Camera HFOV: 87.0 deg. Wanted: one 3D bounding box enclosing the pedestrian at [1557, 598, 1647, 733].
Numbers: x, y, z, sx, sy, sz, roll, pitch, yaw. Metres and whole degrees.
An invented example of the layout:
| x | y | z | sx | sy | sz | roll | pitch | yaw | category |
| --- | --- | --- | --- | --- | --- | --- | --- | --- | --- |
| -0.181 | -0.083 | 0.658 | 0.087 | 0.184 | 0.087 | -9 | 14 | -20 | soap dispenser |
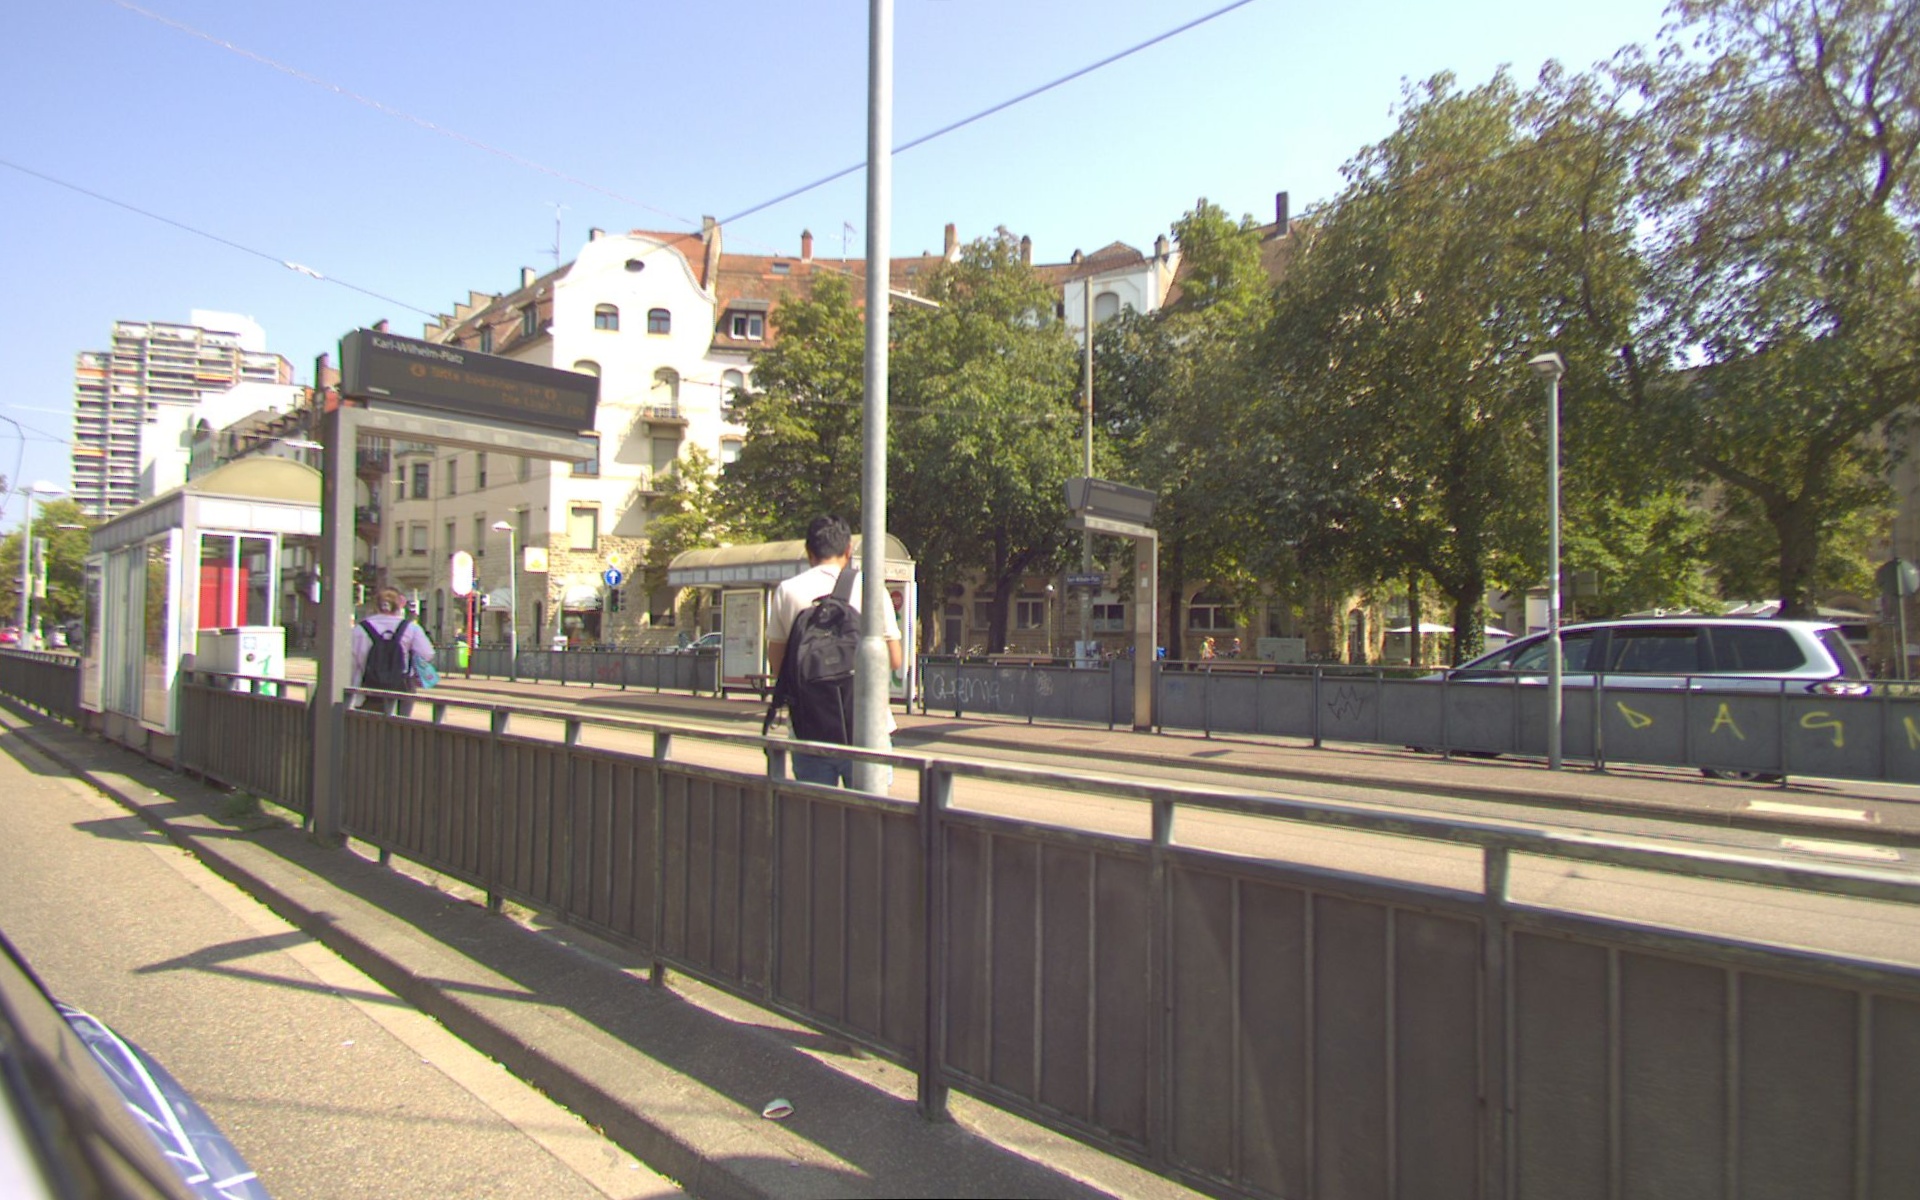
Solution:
| x | y | z | sx | sy | sz | roll | pitch | yaw | category |
| --- | --- | --- | --- | --- | --- | --- | --- | --- | --- |
| 10.153 | 1.001 | 16.009 | 1.036 | 2.029 | 1.080 | -1 | -1 | 42 | pedestrian |

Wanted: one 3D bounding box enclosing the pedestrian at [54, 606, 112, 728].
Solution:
| x | y | z | sx | sy | sz | roll | pitch | yaw | category |
| --- | --- | --- | --- | --- | --- | --- | --- | --- | --- |
| -12.793 | 0.962 | 14.752 | 0.832 | 1.706 | 0.528 | -2 | -3 | 45 | pedestrian |

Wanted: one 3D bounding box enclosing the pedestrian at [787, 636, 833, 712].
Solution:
| x | y | z | sx | sy | sz | roll | pitch | yaw | category |
| --- | --- | --- | --- | --- | --- | --- | --- | --- | --- |
| -2.574 | 1.258 | 17.343 | 0.648 | 1.260 | 0.473 | -2 | -3 | 43 | pedestrian |

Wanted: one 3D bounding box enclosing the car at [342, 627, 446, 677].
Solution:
| x | y | z | sx | sy | sz | roll | pitch | yaw | category |
| --- | --- | --- | --- | --- | --- | --- | --- | --- | --- |
| -20.970 | 1.904 | 37.427 | 4.630 | 1.739 | 1.972 | -2 | -4 | 43 | car |

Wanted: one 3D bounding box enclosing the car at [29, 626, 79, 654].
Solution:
| x | y | z | sx | sy | sz | roll | pitch | yaw | category |
| --- | --- | --- | --- | --- | --- | --- | --- | --- | --- |
| -60.701 | 2.669 | 67.770 | 4.630 | 1.739 | 1.972 | -2 | -4 | 43 | car |

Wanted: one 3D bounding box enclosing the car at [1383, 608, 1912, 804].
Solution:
| x | y | z | sx | sy | sz | roll | pitch | yaw | category |
| --- | --- | --- | --- | --- | --- | --- | --- | --- | --- |
| 7.461 | 1.039 | 11.361 | 4.633 | 1.739 | 1.971 | -2 | -4 | 45 | car |

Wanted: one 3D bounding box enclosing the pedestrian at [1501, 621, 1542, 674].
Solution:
| x | y | z | sx | sy | sz | roll | pitch | yaw | category |
| --- | --- | --- | --- | --- | --- | --- | --- | --- | --- |
| 21.765 | 1.821 | 39.239 | 1.021 | 2.029 | 1.096 | 1 | -1 | -43 | pedestrian |

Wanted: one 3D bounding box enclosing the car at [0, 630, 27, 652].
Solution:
| x | y | z | sx | sy | sz | roll | pitch | yaw | category |
| --- | --- | --- | --- | --- | --- | --- | --- | --- | --- |
| -81.070 | 3.476 | 86.140 | 4.630 | 1.739 | 1.972 | -2 | -4 | 43 | car |

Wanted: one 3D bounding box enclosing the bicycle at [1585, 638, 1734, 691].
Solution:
| x | y | z | sx | sy | sz | roll | pitch | yaw | category |
| --- | --- | --- | --- | --- | --- | --- | --- | --- | --- |
| 20.090 | 1.841 | 29.114 | 3.434 | 1.447 | 1.223 | 1 | -2 | -2 | bicycle |

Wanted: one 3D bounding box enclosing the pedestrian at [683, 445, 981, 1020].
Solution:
| x | y | z | sx | sy | sz | roll | pitch | yaw | category |
| --- | --- | --- | --- | --- | --- | --- | --- | --- | --- |
| -0.489 | 0.448 | 3.906 | 0.921 | 1.899 | 0.667 | -1 | -3 | 37 | pedestrian |

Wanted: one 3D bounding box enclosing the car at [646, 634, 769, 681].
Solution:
| x | y | z | sx | sy | sz | roll | pitch | yaw | category |
| --- | --- | --- | --- | --- | --- | --- | --- | --- | --- |
| -10.175 | 2.327 | 41.077 | 4.561 | 1.739 | 2.002 | 1 | -3 | -4 | car |

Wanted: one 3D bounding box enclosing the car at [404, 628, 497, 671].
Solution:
| x | y | z | sx | sy | sz | roll | pitch | yaw | category |
| --- | --- | --- | --- | --- | --- | --- | --- | --- | --- |
| -21.646 | 2.074 | 42.941 | 4.630 | 1.739 | 1.972 | -2 | -4 | 43 | car |

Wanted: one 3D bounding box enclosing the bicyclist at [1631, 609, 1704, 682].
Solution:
| x | y | z | sx | sy | sz | roll | pitch | yaw | category |
| --- | --- | --- | --- | --- | --- | --- | --- | --- | --- |
| 20.367 | 1.305 | 29.150 | 1.193 | 2.029 | 1.211 | 2 | -1 | -5 | bicyclist |

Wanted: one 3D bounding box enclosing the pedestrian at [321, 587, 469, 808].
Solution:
| x | y | z | sx | sy | sz | roll | pitch | yaw | category |
| --- | --- | --- | --- | --- | --- | --- | --- | --- | --- |
| -4.409 | 0.727 | 7.903 | 0.853 | 1.596 | 0.729 | -2 | -3 | 41 | pedestrian |

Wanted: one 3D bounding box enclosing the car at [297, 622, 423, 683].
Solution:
| x | y | z | sx | sy | sz | roll | pitch | yaw | category |
| --- | --- | --- | --- | --- | --- | --- | --- | --- | --- |
| -18.521 | 1.590 | 31.147 | 4.629 | 1.739 | 1.972 | -1 | -4 | 42 | car |

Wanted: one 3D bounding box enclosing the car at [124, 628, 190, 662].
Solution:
| x | y | z | sx | sy | sz | roll | pitch | yaw | category |
| --- | --- | --- | --- | --- | --- | --- | --- | --- | --- |
| -42.711 | 2.390 | 53.804 | 4.630 | 1.739 | 1.972 | -2 | -4 | 43 | car |
